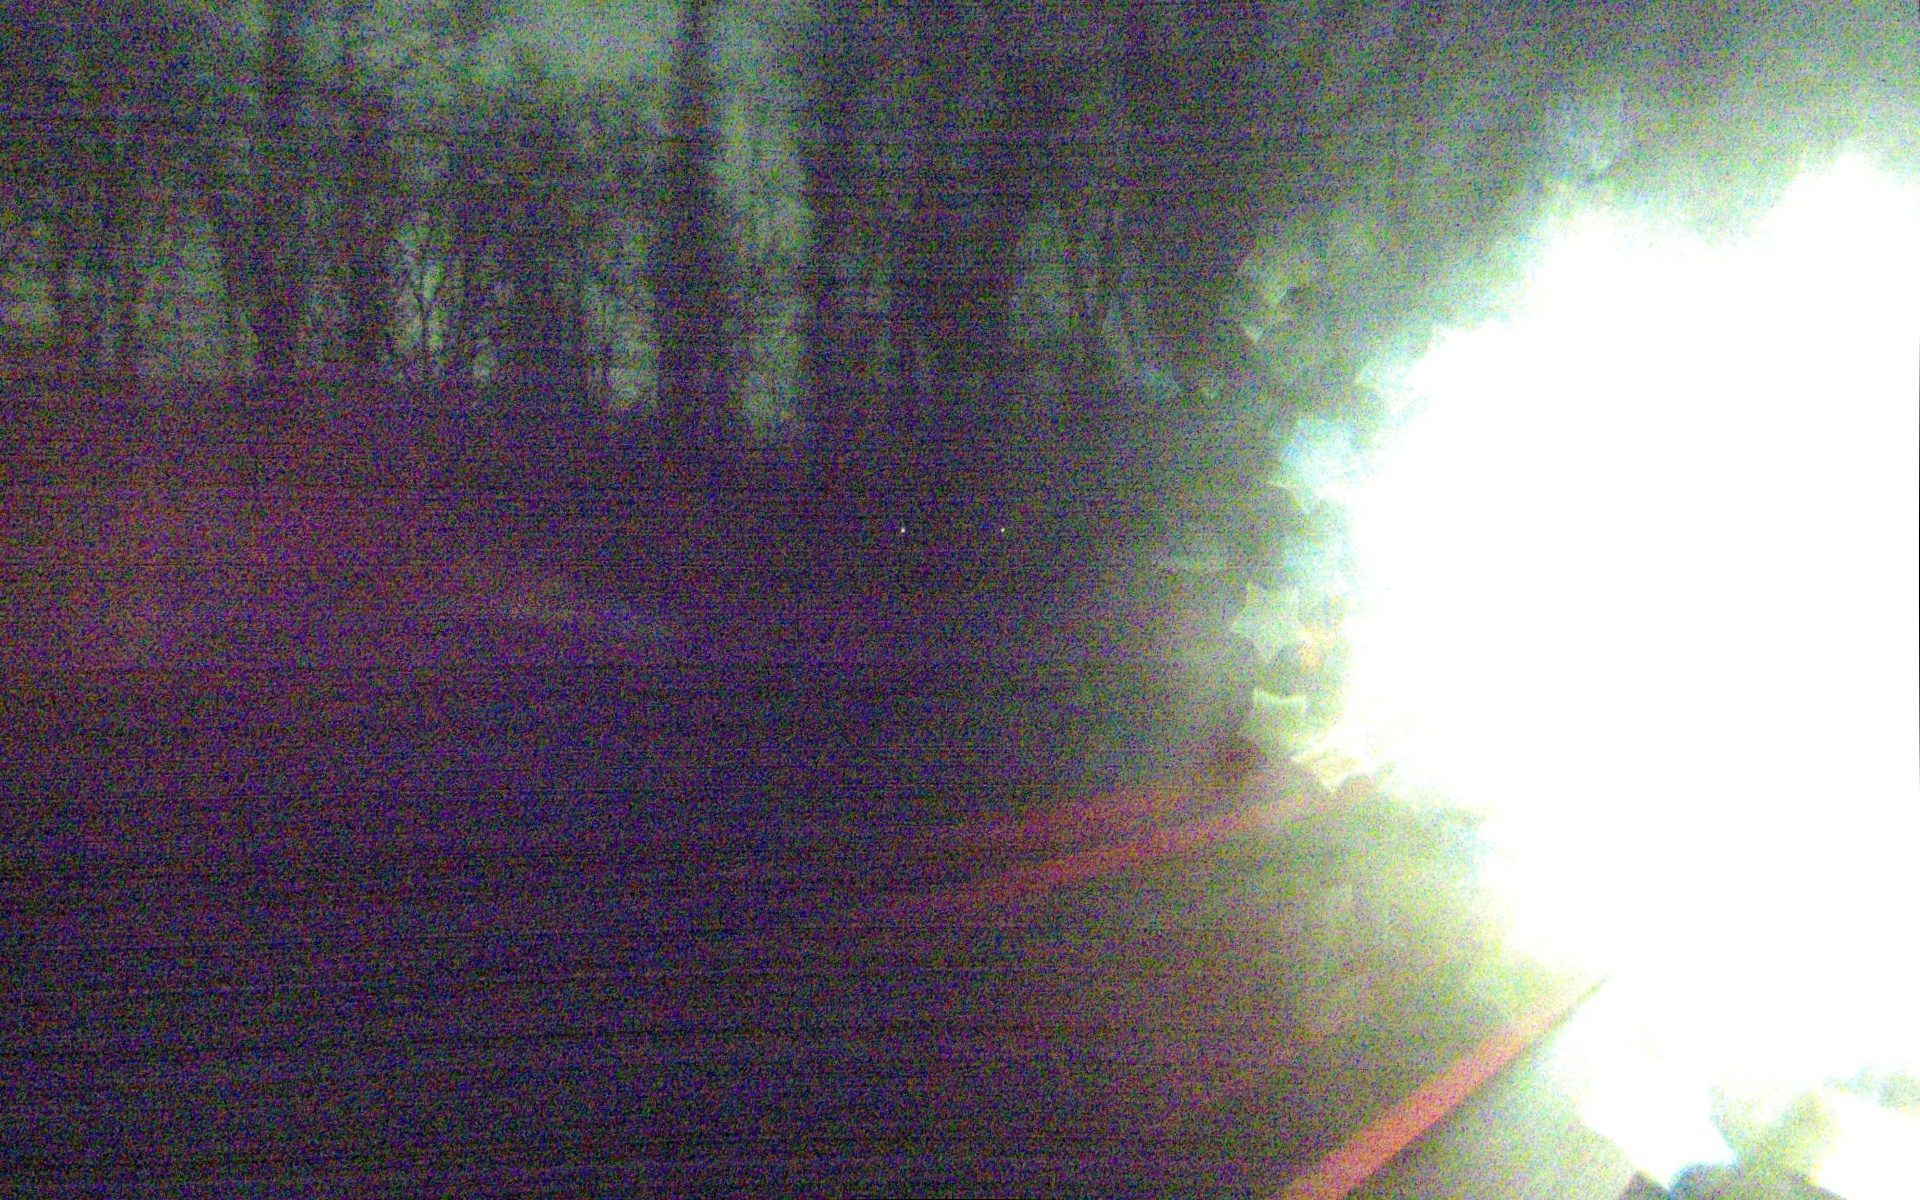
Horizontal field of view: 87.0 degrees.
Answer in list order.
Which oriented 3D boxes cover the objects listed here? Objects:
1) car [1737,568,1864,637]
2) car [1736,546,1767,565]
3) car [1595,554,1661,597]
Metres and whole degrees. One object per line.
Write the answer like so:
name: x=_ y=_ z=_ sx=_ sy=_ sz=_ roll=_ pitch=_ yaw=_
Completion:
car: x=23.841 y=-0.006 z=28.875 sx=1.876 sy=1.631 sz=3.964 roll=3 pitch=5 yaw=27
car: x=67.633 y=-3.822 z=86.562 sx=1.779 sy=1.491 sz=3.846 roll=4 pitch=5 yaw=34
car: x=34.863 y=-1.247 z=52.925 sx=1.976 sy=2.039 sz=3.972 roll=-3 pitch=0 yaw=21
